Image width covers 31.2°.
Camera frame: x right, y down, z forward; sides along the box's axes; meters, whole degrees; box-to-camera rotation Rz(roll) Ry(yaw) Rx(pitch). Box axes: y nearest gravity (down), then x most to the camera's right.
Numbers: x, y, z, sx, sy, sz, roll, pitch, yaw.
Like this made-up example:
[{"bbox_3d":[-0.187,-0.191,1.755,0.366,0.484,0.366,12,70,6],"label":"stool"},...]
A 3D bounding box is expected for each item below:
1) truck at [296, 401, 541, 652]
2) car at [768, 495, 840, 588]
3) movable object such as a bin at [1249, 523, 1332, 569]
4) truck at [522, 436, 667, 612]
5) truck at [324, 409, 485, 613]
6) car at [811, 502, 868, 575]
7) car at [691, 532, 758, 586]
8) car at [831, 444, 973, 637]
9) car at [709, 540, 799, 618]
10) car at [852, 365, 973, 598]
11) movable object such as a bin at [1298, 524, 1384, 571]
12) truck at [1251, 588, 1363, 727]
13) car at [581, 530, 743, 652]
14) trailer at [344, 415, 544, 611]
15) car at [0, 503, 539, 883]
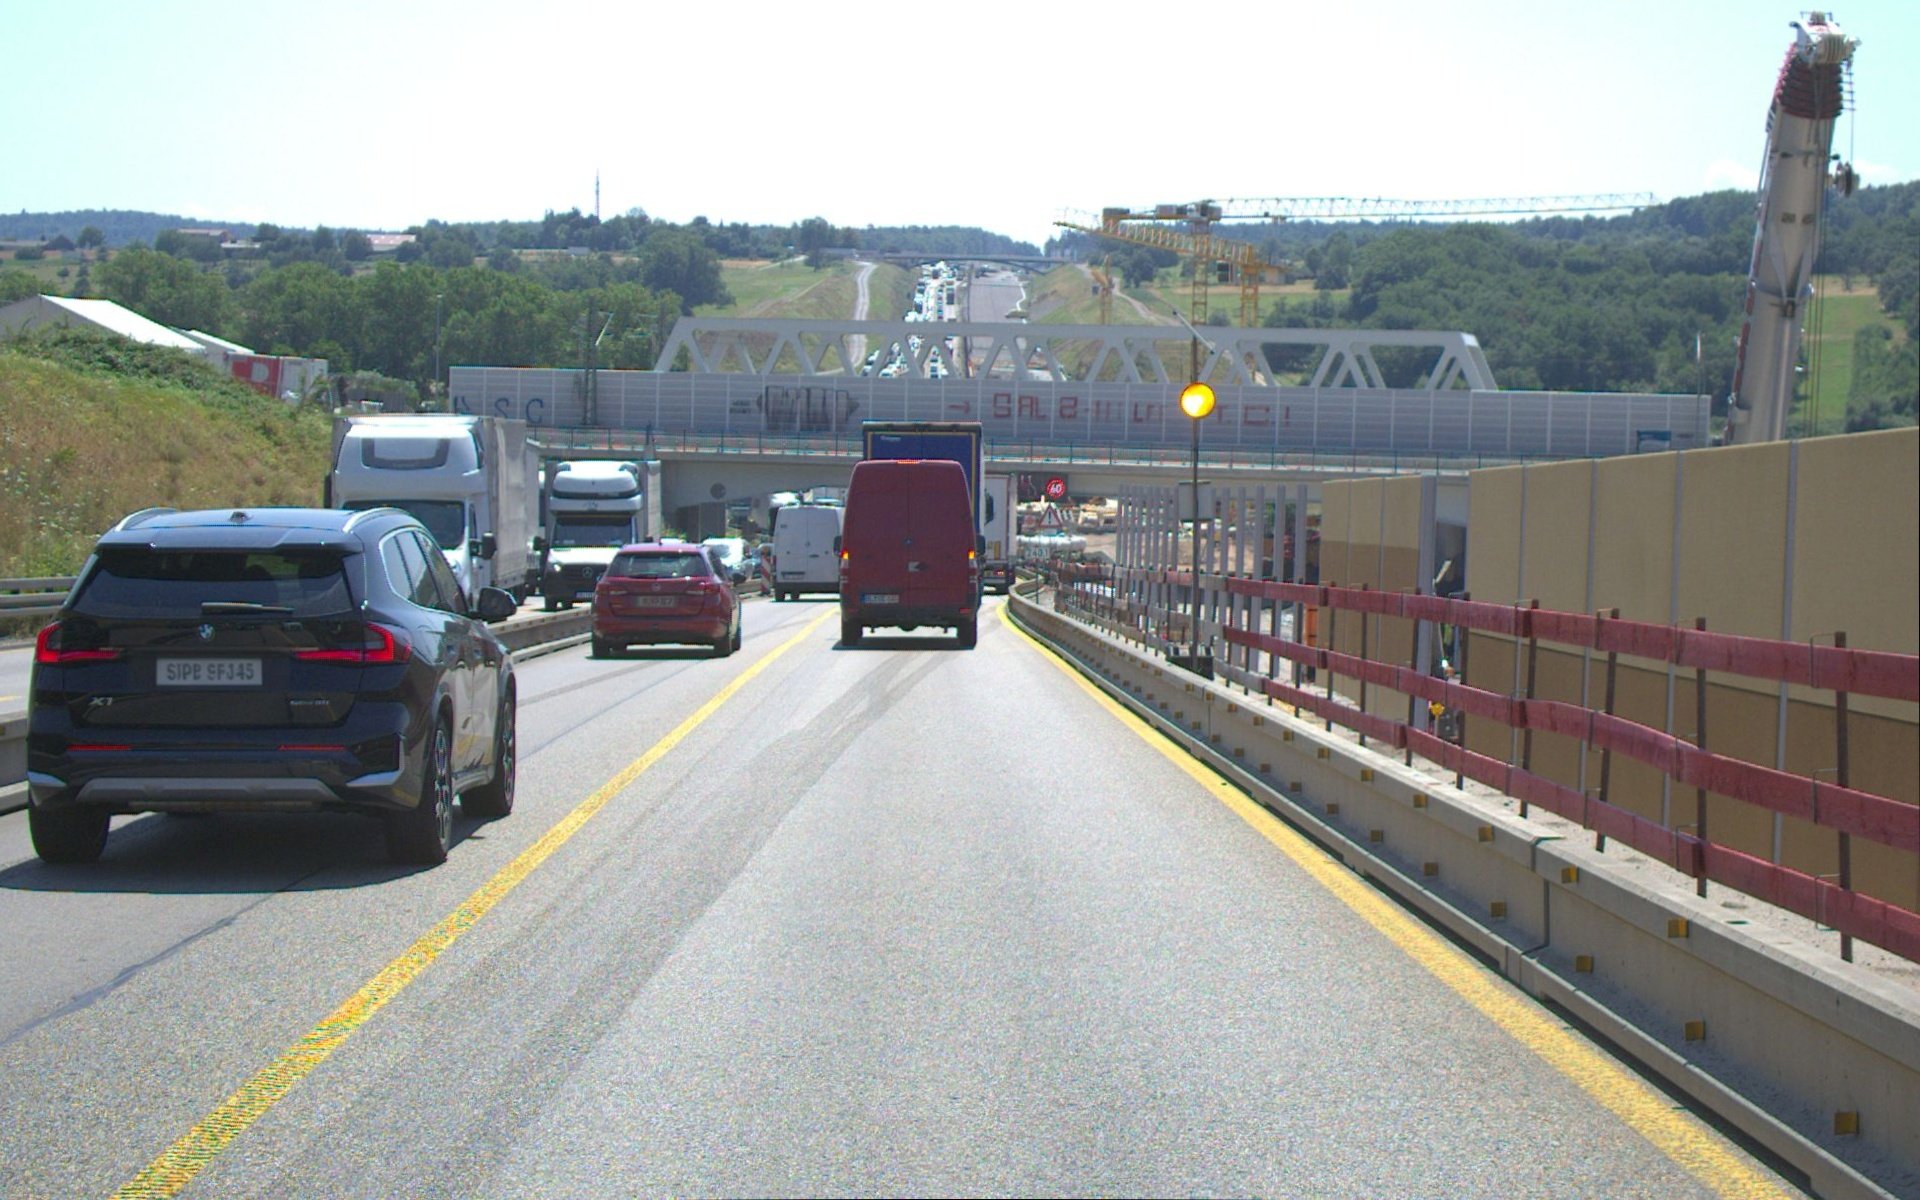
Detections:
[{"bbox_3d":[-7.748,-1.065,49.972,2.538,3.362,7.038,1,1,-1],"label":"truck"},{"bbox_3d":[-4.165,-1.583,92.284,1.776,2.433,4.206,0,1,-1],"label":"car"},{"bbox_3d":[20.974,-3.433,218.103,5.147,2.798,2.142,1,1,5],"label":"movable object such as a bin"},{"bbox_3d":[-8.163,-1.707,77.511,2.589,3.745,7.359,1,1,-1],"label":"truck"},{"bbox_3d":[-11.383,-1.826,70.695,2.698,4.036,3.955,1,1,-1],"label":"truck"},{"bbox_3d":[-3.900,-2.013,112.075,1.776,2.322,4.206,0,1,-1],"label":"car"},{"bbox_3d":[-8.157,-1.438,119.386,2.035,1.817,4.960,1,1,-1],"label":"car"},{"bbox_3d":[-0.839,-0.879,50.263,1.988,2.681,4.624,0,1,-1],"label":"car"},{"bbox_3d":[-4.546,-0.484,76.314,1.839,1.648,4.165,0,1,-1],"label":"car"},{"bbox_3d":[-1.094,-2.657,79.222,2.621,5.015,10.397,0,1,-1],"label":"car"},{"bbox_3d":[23.307,-3.235,210.676,5.147,2.798,2.142,1,1,5],"label":"movable object such as a bin"},{"bbox_3d":[10.300,1.657,102.413,2.758,3.873,5.882,1,1,1],"label":"truck"},{"bbox_3d":[-3.847,-0.155,44.974,1.776,1.512,4.206,0,1,0],"label":"car"},{"bbox_3d":[-11.536,-1.949,78.131,2.698,4.010,13.704,1,1,-1],"label":"trailer"},{"bbox_3d":[-3.250,0.348,16.853,1.879,1.612,4.499,0,1,-1],"label":"car"}]
